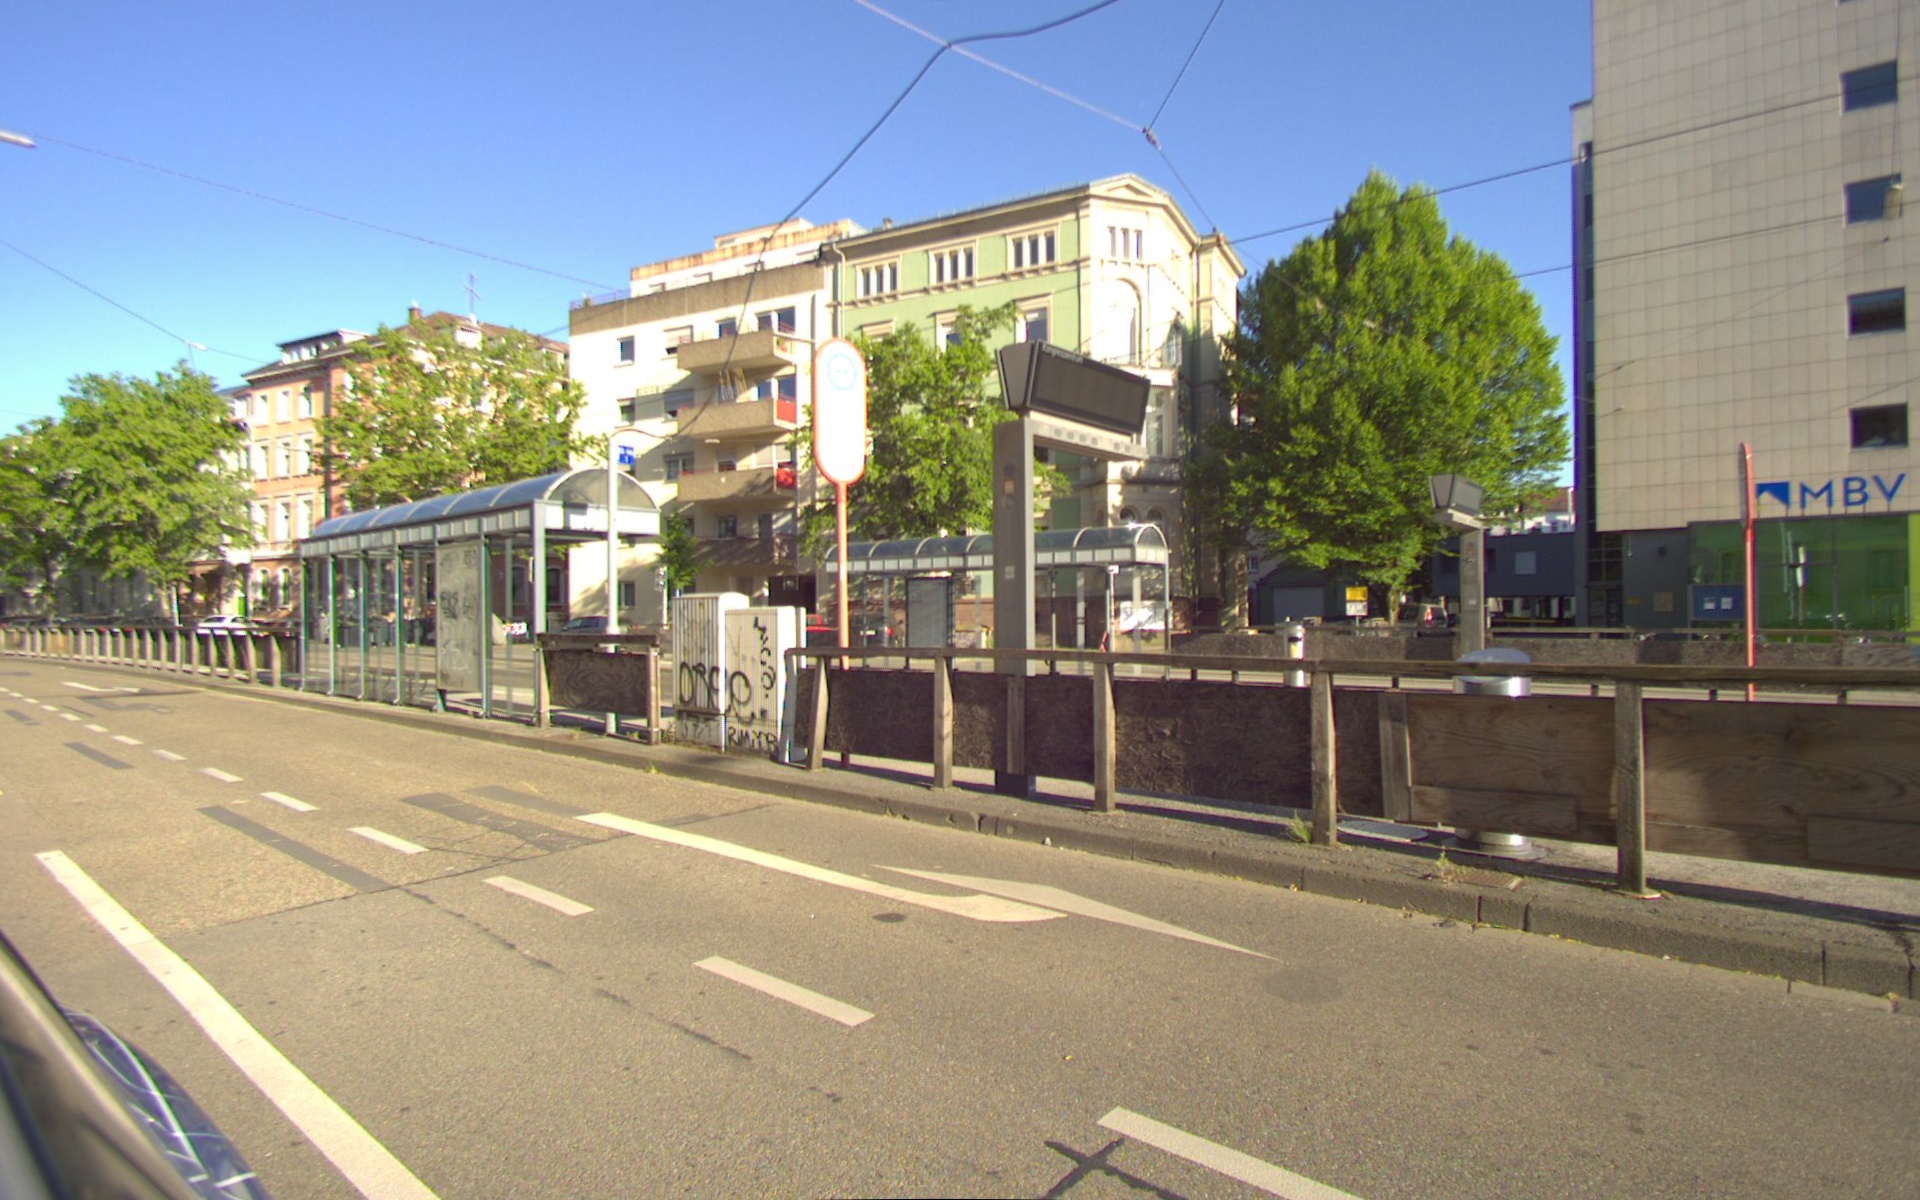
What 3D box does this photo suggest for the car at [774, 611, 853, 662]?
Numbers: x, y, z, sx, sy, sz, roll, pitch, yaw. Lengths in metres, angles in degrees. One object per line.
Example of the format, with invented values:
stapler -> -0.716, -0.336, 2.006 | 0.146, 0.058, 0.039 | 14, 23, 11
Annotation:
car -> -4.943, 1.211, 34.570 | 1.614, 1.579, 3.588 | -1, 0, 11

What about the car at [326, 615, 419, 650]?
car -> -28.420, 1.554, 49.060 | 1.626, 1.579, 3.560 | -1, 0, 33

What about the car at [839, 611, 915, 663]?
car -> -2.670, 1.182, 33.374 | 1.614, 1.579, 3.588 | -1, 0, 11

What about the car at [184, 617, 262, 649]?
car -> -39.420, 1.733, 54.219 | 1.607, 1.579, 3.601 | -1, 0, -2

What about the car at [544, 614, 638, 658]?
car -> -14.055, 1.329, 38.523 | 3.592, 1.579, 1.612 | -1, 0, 35
